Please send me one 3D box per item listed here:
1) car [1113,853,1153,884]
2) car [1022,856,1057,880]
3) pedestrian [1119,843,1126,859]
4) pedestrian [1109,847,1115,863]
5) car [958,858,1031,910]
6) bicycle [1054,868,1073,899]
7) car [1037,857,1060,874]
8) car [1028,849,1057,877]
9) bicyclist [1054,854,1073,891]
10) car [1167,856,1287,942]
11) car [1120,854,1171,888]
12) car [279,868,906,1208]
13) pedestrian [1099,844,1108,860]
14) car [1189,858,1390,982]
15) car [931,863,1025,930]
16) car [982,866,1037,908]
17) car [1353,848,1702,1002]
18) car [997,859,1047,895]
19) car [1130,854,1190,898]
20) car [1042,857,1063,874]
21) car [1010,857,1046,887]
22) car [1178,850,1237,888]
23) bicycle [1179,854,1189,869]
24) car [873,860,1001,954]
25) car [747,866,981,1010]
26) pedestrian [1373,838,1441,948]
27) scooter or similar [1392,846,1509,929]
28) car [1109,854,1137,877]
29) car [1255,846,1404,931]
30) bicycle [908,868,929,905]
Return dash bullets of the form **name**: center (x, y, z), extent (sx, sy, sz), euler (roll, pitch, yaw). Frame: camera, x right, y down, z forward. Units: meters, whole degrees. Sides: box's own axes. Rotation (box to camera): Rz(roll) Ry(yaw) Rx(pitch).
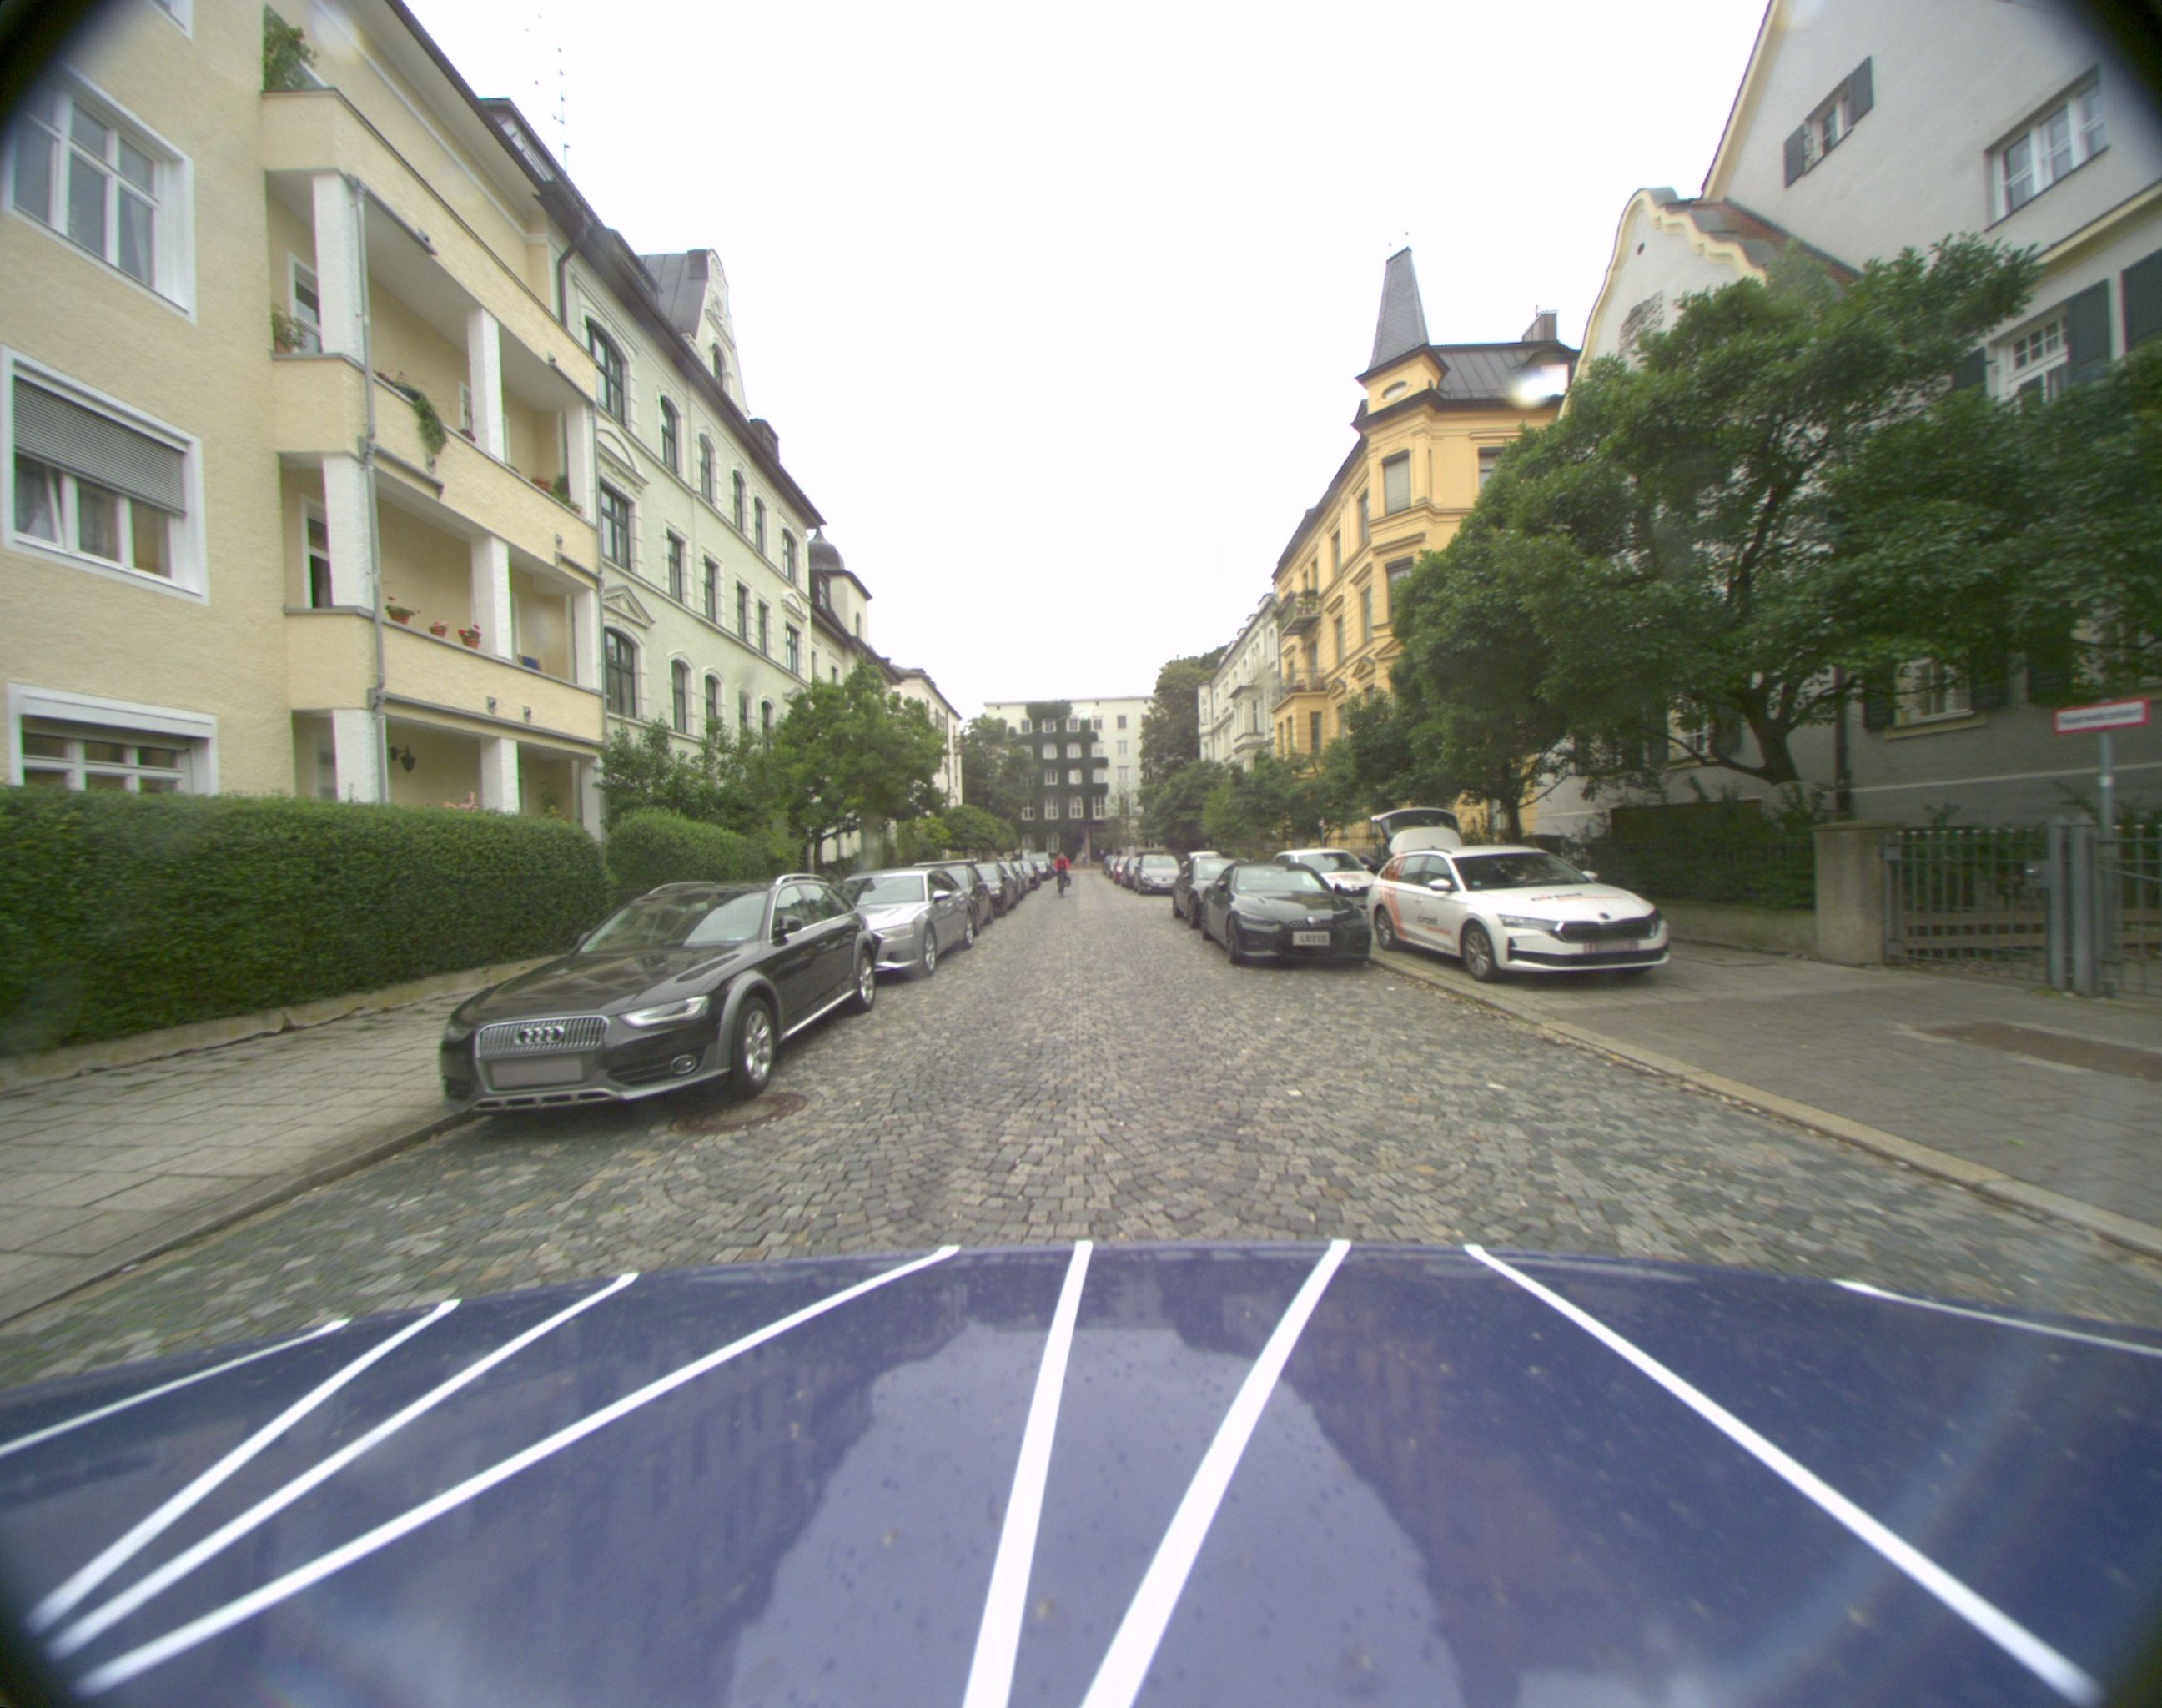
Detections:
- **car**: center (2.822, 0.745, 41.852), extent (1.846, 1.577, 4.191), euler (-1, 0, -1)
- **car**: center (-2.865, 0.956, 53.225), extent (1.942, 1.457, 4.532), euler (-4, 0, 2)
- **pedestrian**: center (5.196, -0.364, 95.555), extent (0.666, 1.905, 0.863), euler (-3, 1, 8)
- **pedestrian**: center (3.922, 0.125, 95.825), extent (0.701, 1.905, 0.863), euler (-4, 1, 3)
- **car**: center (-2.955, 0.992, 27.074), extent (1.887, 1.480, 4.813), euler (-4, 0, 1)
- **bicycle**: center (-0.656, 1.099, 28.802), extent (0.636, 1.021, 1.955), euler (-2, 1, 0)
- **car**: center (-2.691, 0.964, 63.974), extent (1.744, 1.367, 4.181), euler (-1, 0, 0)
- **car**: center (-2.934, 0.632, 58.810), extent (1.999, 1.958, 4.965), euler (-5, 1, -1)
- **bicyclist**: center (-0.668, 0.688, 28.881), extent (0.648, 1.350, 0.656), euler (-3, 1, 0)
- **car**: center (3.035, 0.854, 16.726), extent (1.744, 1.594, 4.536), euler (0, 0, 0)
- **car**: center (2.966, 0.739, 36.067), extent (1.875, 1.461, 5.132), euler (-1, 0, -1)
- **car**: center (-3.138, 1.013, 6.494), extent (1.998, 1.543, 5.014), euler (-4, 0, 0)
- **pedestrian**: center (2.867, -0.284, 95.535), extent (0.703, 1.905, 0.861), euler (-4, 1, -31)
- **car**: center (2.893, 0.821, 11.732), extent (1.819, 1.447, 4.912), euler (1, 0, 1)
- **car**: center (-2.811, 1.109, 21.858), extent (1.823, 1.480, 5.049), euler (-5, 0, 1)
- **car**: center (-2.944, 1.347, 32.249), extent (1.760, 1.451, 4.480), euler (-4, 0, 1)
- **car**: center (5.157, 0.687, 9.671), extent (1.780, 1.408, 4.561), euler (-3, 0, 1)
- **car**: center (-2.862, 1.096, 37.903), extent (1.909, 1.494, 5.105), euler (-4, 0, 1)
- **car**: center (3.047, 0.824, 30.178), extent (1.744, 1.577, 4.191), euler (-1, 0, -3)
- **car**: center (-2.549, 1.016, 68.990), extent (1.744, 1.367, 4.281), euler (-1, 0, 0)
- **car**: center (-2.970, 0.988, 43.182), extent (1.671, 1.499, 3.685), euler (-4, 0, 0)
- **car**: center (5.454, 0.612, 33.254), extent (1.846, 1.457, 4.389), euler (-3, 0, 0)
- **bicycle**: center (7.967, 0.564, 58.965), extent (0.464, 1.045, 1.695), euler (-5, 1, 1)
- **car**: center (-2.968, 1.020, 16.654), extent (1.898, 1.644, 4.293), euler (-3, 0, 0)
- **car**: center (-2.959, 1.059, 11.715), extent (1.998, 1.543, 4.986), euler (-3, 0, 1)
- **pedestrian**: center (5.091, 0.595, 11.886), extent (0.768, 1.640, 0.582), euler (-2, 1, 2)
- **scooter or similar**: center (7.342, 0.616, 15.297), extent (1.065, 1.514, 2.634), euler (-2, 0, 1)
- **car**: center (2.873, 0.778, 52.539), extent (1.815, 1.490, 4.510), euler (-1, 0, 2)
- **car**: center (5.288, 0.655, 16.828), extent (1.744, 1.527, 4.466), euler (-3, 0, 0)
- **bicycle**: center (-5.517, 1.081, 25.732), extent (0.582, 1.188, 1.646), euler (-3, 0, -14)
